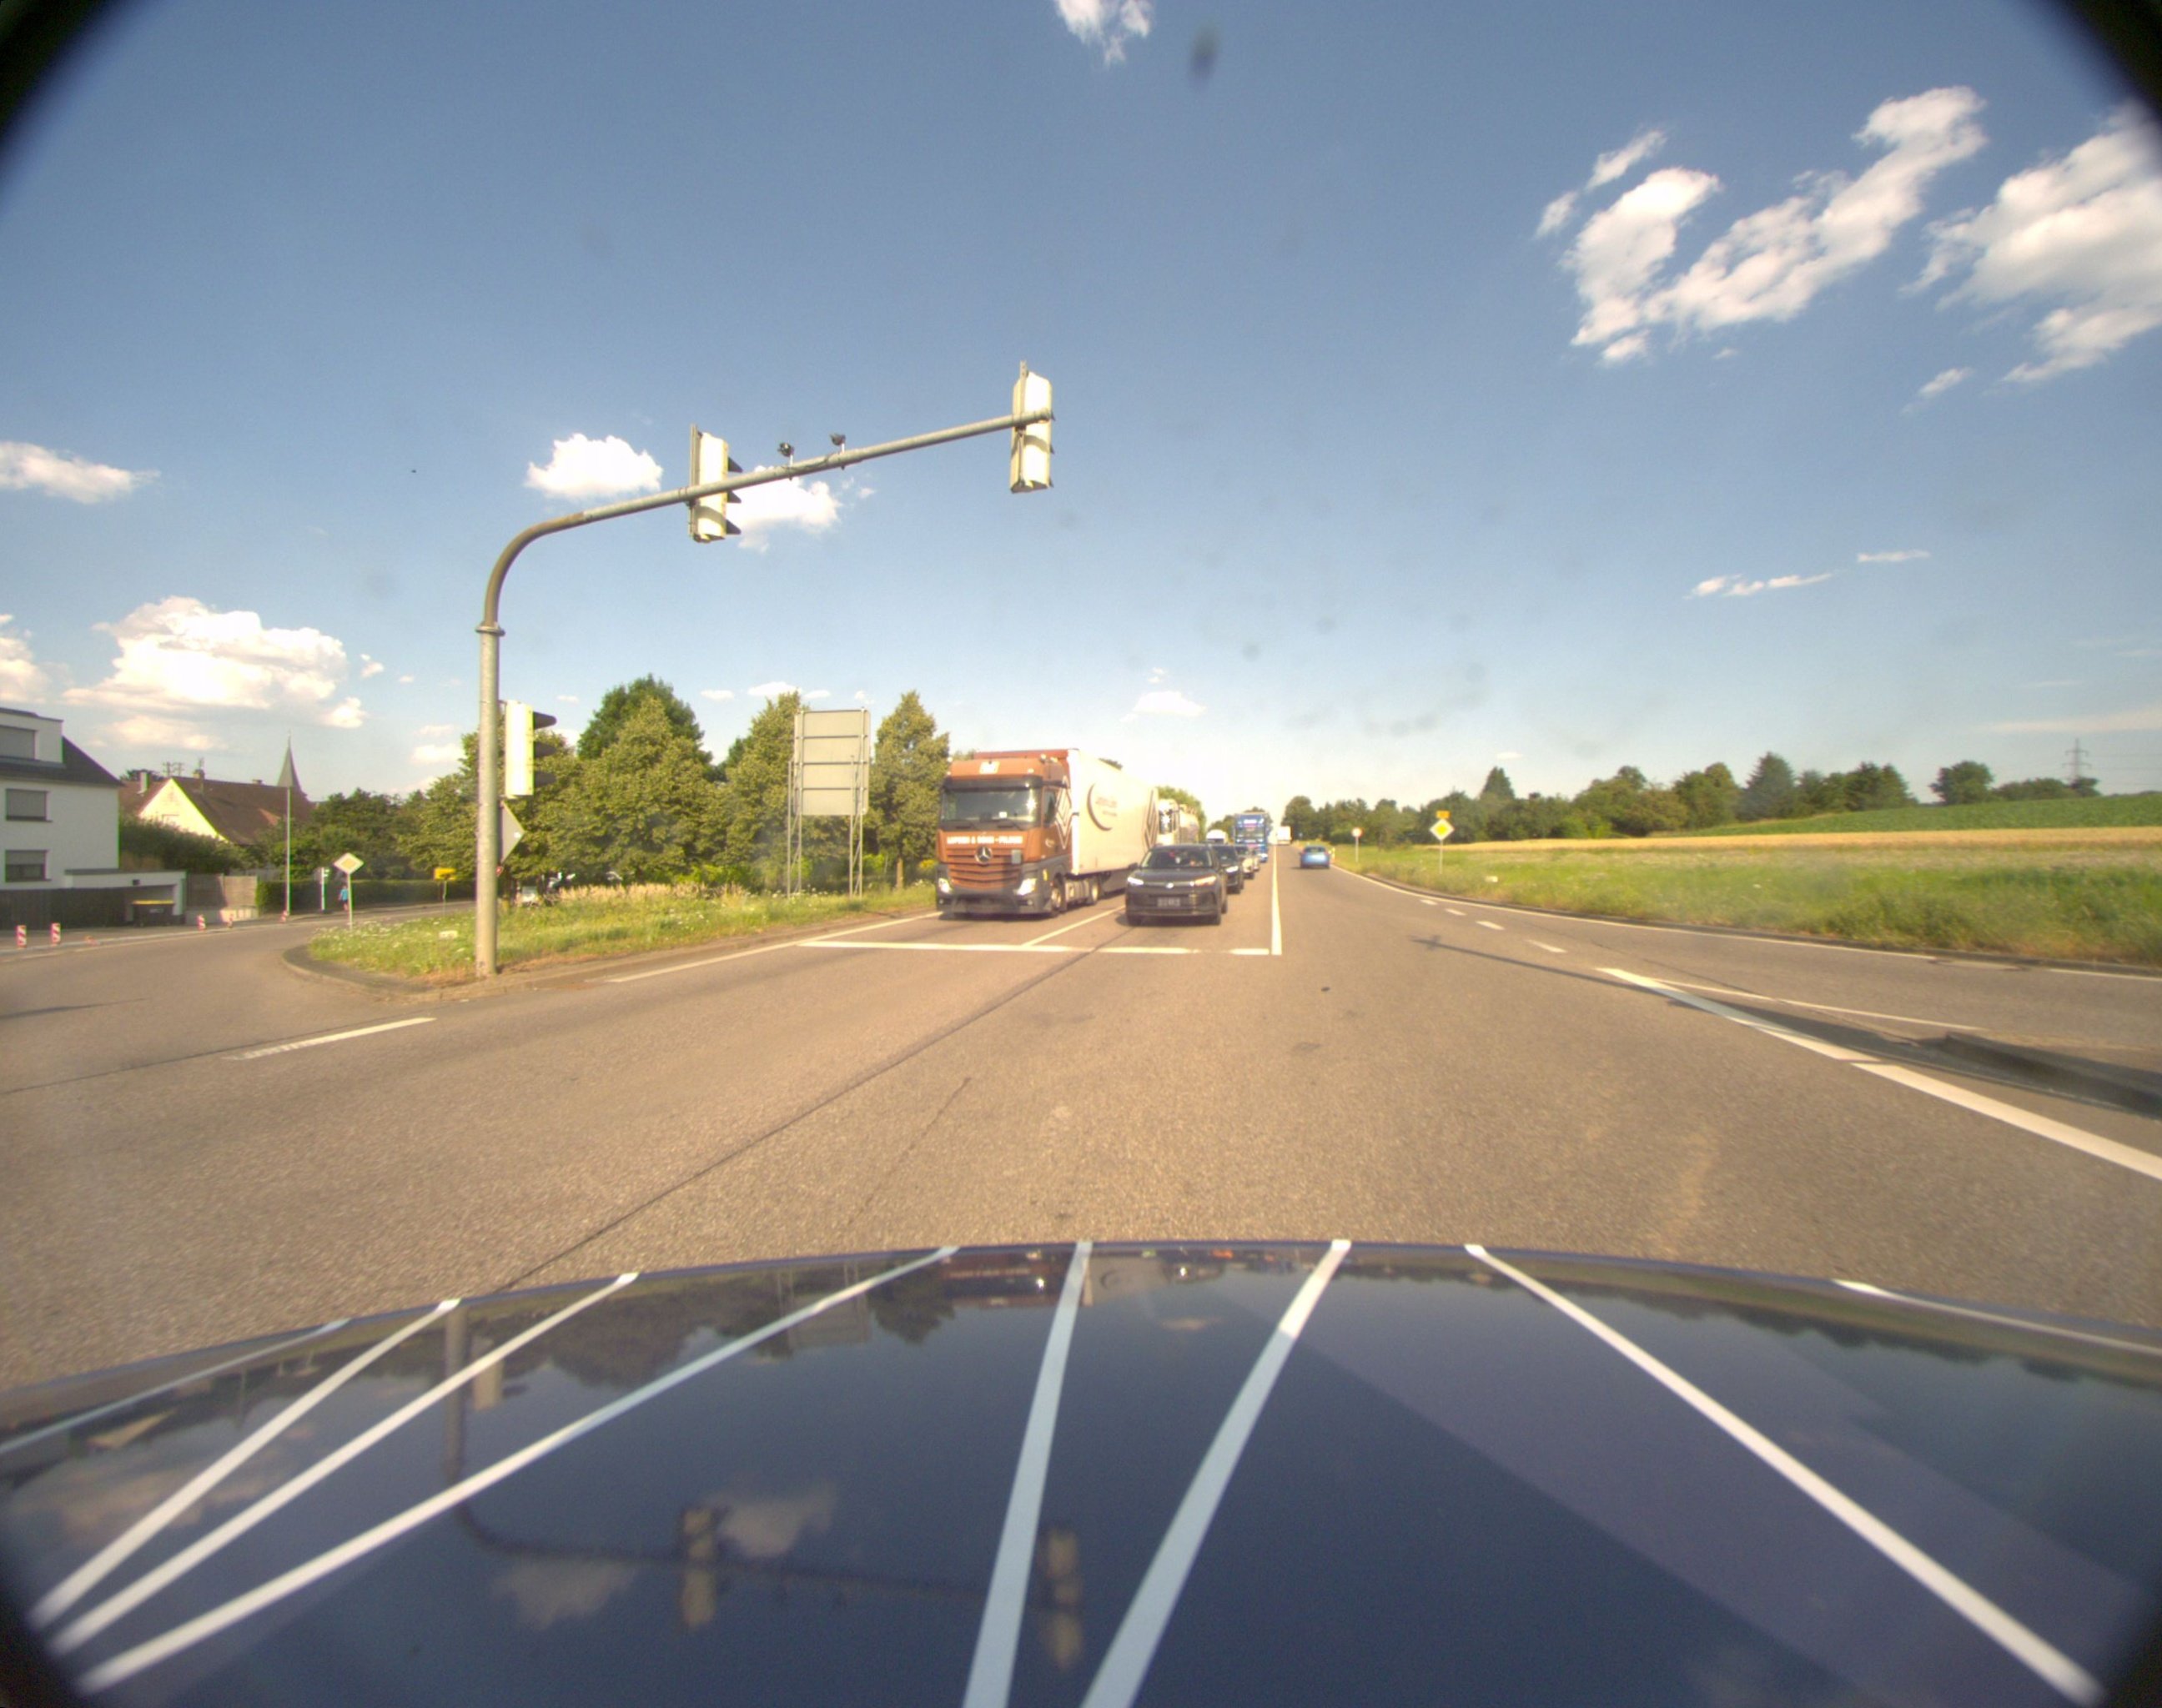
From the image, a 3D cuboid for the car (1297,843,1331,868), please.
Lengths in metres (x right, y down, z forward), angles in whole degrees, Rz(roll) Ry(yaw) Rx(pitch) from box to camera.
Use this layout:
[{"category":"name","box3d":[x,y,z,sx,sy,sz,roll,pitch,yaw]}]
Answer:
[{"category":"car","box3d":[14.310,0.079,46.833,1.761,1.492,4.004,0,0,13]}]

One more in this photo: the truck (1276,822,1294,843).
[{"category":"truck","box3d":[45.248,-4.758,168.807,3.445,4.471,9.495,-2,1,14]}]

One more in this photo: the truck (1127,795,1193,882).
[{"category":"truck","box3d":[3.888,-0.717,36.386,2.259,3.783,5.691,-2,1,14]}]

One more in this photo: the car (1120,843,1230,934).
[{"category":"car","box3d":[2.164,0.628,16.320,1.786,1.620,4.472,-2,1,14]}]

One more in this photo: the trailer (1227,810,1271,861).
[{"category":"trailer","box3d":[15.216,-1.660,68.100,3.413,3.982,13.761,-2,1,14]}]

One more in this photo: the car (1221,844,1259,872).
[{"category":"car","box3d":[9.445,0.224,44.994,1.996,1.477,4.003,-2,1,14]}]

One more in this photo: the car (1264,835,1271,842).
[{"category":"car","box3d":[57.353,-4.711,233.646,1.996,2.002,4.005,-2,1,18]}]

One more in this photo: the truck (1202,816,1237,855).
[{"category":"truck","box3d":[14.643,-1.924,79.476,2.526,3.752,12.910,-2,1,15]}]

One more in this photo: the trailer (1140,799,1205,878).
[{"category":"trailer","box3d":[5.236,-0.828,41.782,2.262,3.755,9.533,-2,1,14]}]

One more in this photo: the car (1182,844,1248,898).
[{"category":"car","box3d":[4.693,0.509,26.145,1.773,1.604,4.552,-2,1,15]}]

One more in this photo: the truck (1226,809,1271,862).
[{"category":"truck","box3d":[13.671,-1.511,61.753,3.370,3.982,5.606,-2,1,14]}]

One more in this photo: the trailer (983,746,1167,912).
[{"category":"trailer","box3d":[0.614,-0.687,25.787,2.535,4.043,14.349,-2,1,14]}]

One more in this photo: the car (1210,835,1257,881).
[{"category":"car","box3d":[7.245,0.145,35.871,1.905,1.936,4.376,-2,1,14]}]

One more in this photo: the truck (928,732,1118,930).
[{"category":"truck","box3d":[-1.088,-0.514,18.976,2.535,4.020,6.668,-1,1,15]}]

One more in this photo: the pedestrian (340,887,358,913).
[{"category":"pedestrian","box3d":[-49.826,3.139,51.721,0.618,1.719,0.638,-2,1,-16]}]
